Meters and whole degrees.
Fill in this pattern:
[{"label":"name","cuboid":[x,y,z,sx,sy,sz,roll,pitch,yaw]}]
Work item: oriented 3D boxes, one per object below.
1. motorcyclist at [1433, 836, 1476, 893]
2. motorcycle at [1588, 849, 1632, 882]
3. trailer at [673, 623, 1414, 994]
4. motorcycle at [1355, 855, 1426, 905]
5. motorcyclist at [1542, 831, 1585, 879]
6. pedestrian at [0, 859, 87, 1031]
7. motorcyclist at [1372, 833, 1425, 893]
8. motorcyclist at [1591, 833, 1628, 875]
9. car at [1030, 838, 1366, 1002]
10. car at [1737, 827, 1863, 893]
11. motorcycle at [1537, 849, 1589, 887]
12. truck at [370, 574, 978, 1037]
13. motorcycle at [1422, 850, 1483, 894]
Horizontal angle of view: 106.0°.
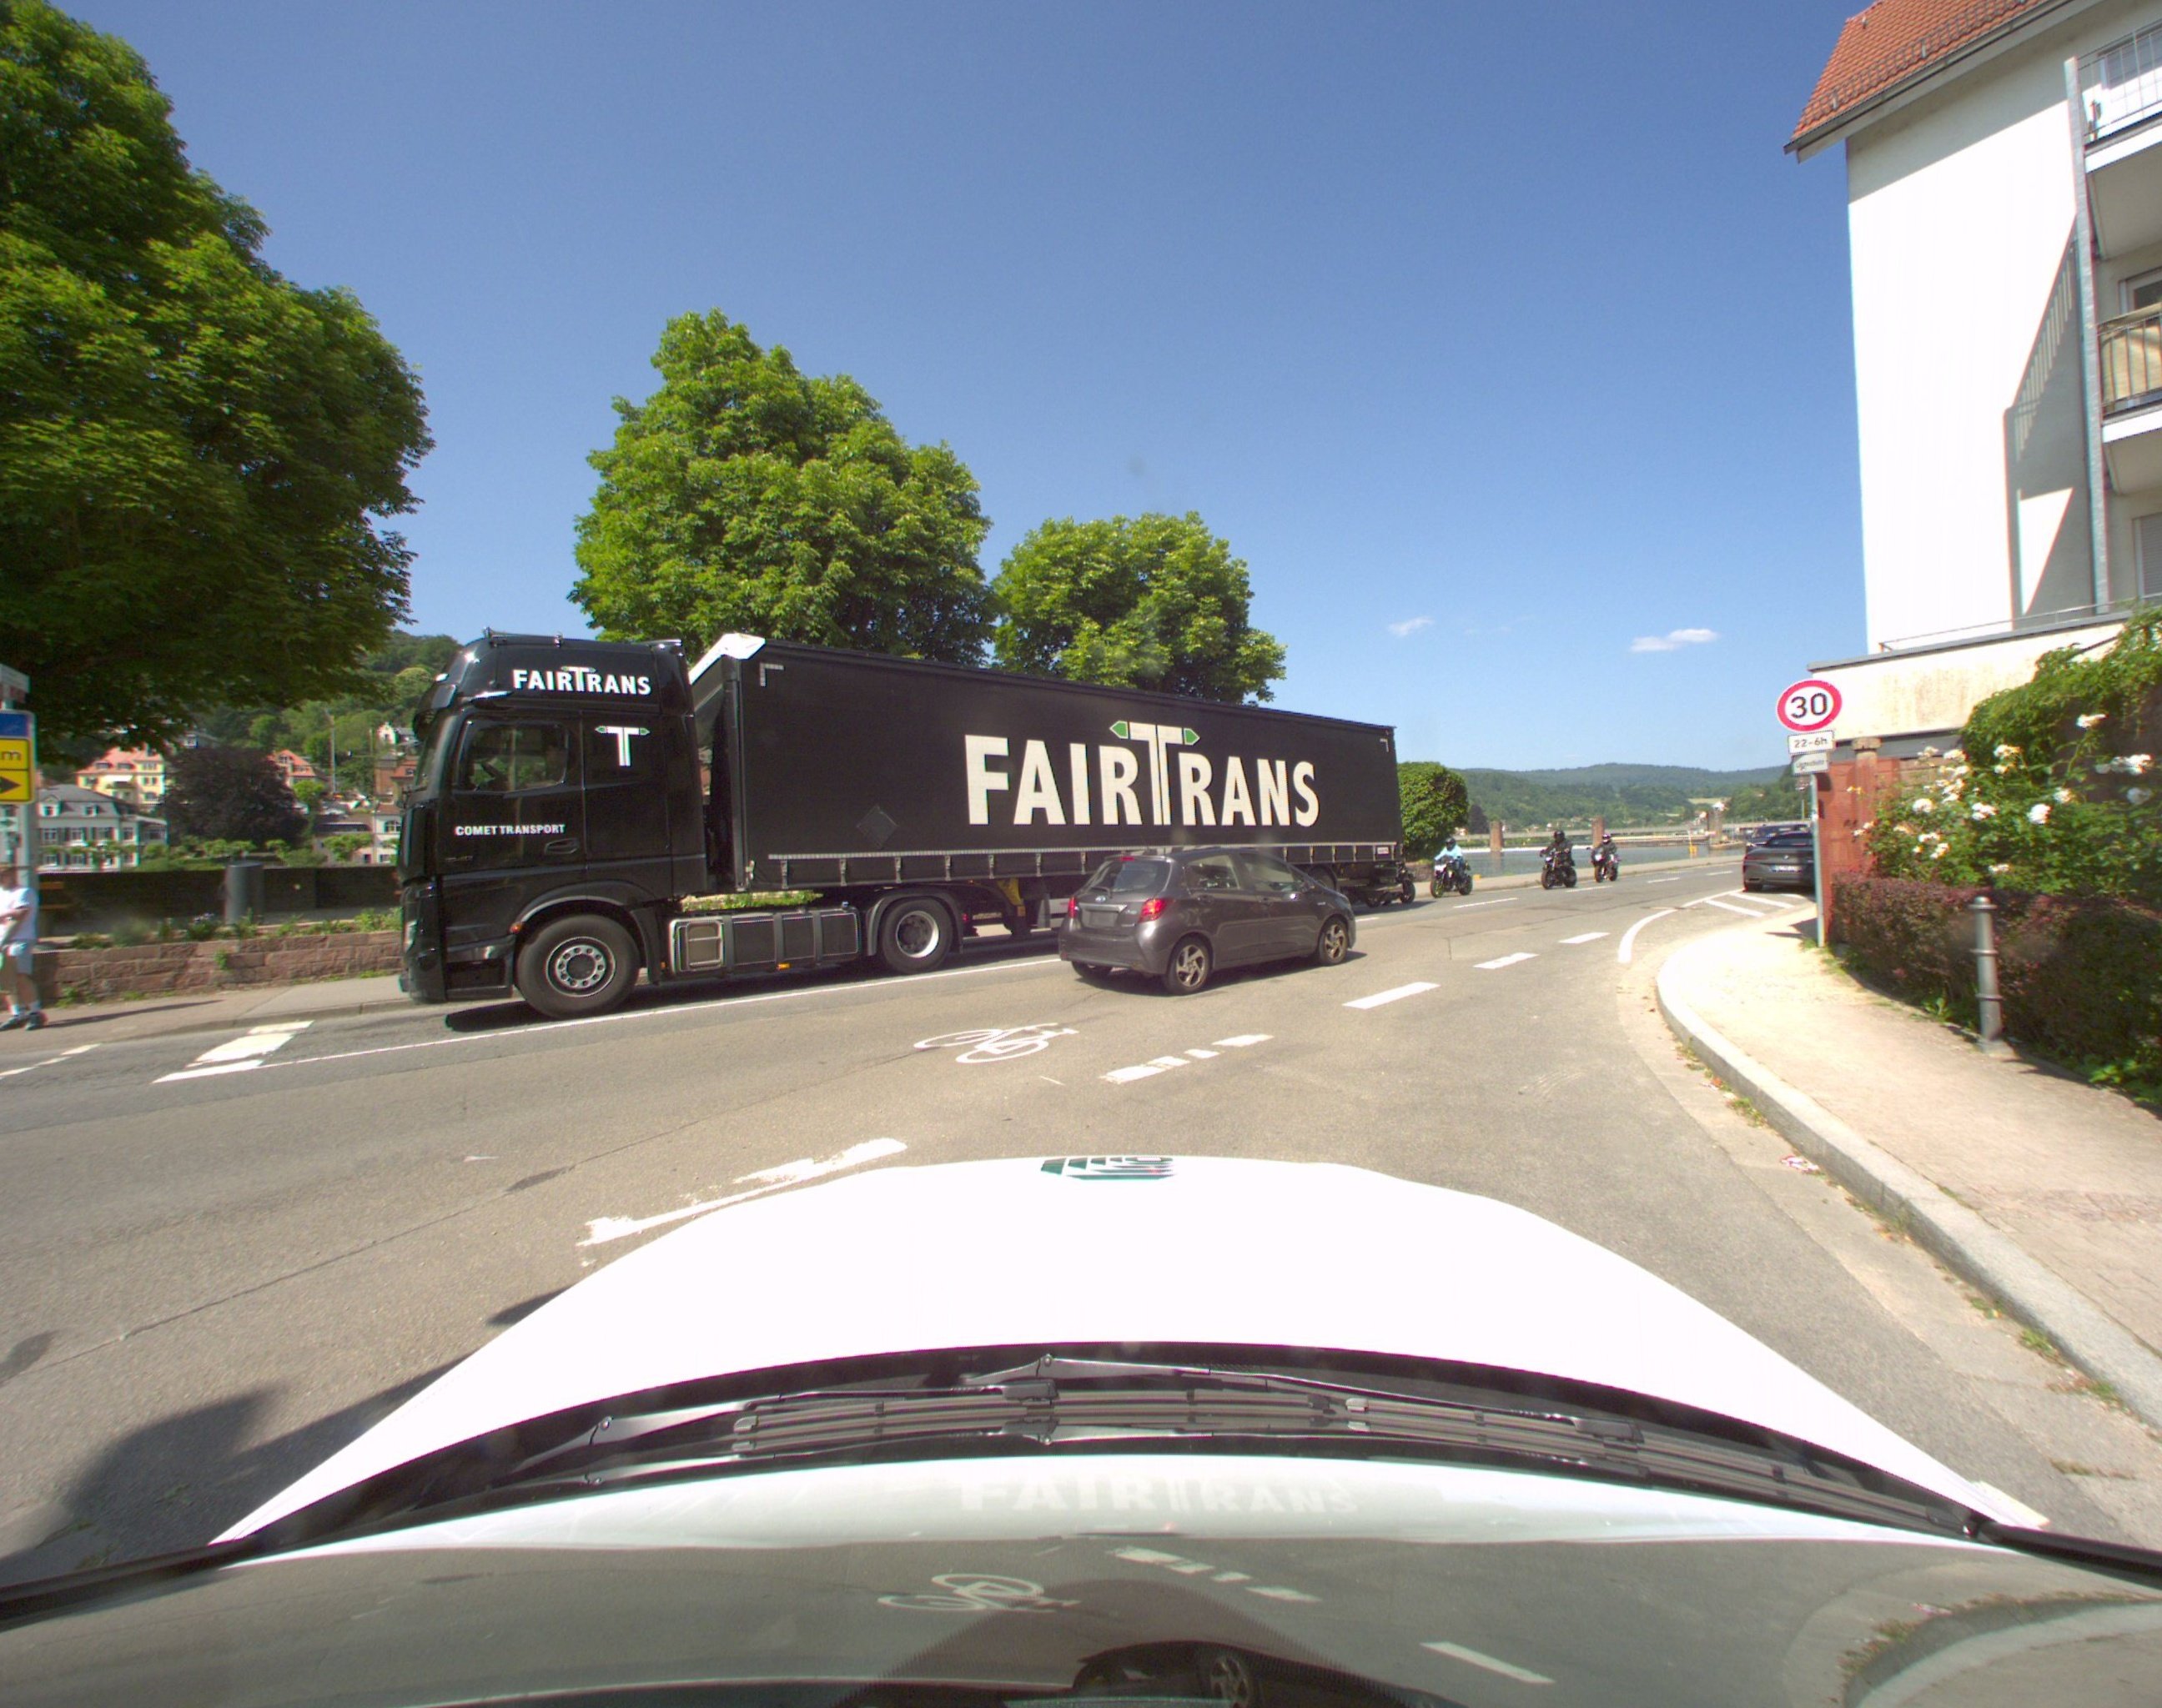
[{"label":"motorcyclist","cuboid":[10.551,0.293,23.013,0.996,1.525,0.657,-2,-2,-40]},{"label":"motorcycle","cuboid":[17.642,0.375,27.148,1.824,1.024,0.651,-2,-1,-39]},{"label":"trailer","cuboid":[0.760,-0.641,14.382,13.839,4.104,2.810,-2,-2,-38]},{"label":"motorcycle","cuboid":[7.743,0.637,20.334,2.103,1.123,0.628,-2,-3,-39]},{"label":"motorcyclist","cuboid":[13.978,0.026,23.600,0.804,1.366,0.780,-2,-1,-39]},{"label":"pedestrian","cuboid":[-11.473,0.971,8.859,0.709,1.802,0.573,-2,-1,-40]},{"label":"motorcyclist","cuboid":[7.990,0.224,20.482,0.996,1.460,0.772,-2,-2,-39]},{"label":"motorcyclist","cuboid":[17.541,0.001,27.032,0.941,1.366,0.711,-2,-1,-39]},{"label":"car","cuboid":[1.494,0.626,9.595,3.901,1.498,1.707,-2,-1,-40]},{"label":"car","cuboid":[17.035,0.093,19.235,3.759,1.399,1.673,-2,0,-40]},{"label":"motorcycle","cuboid":[13.922,0.407,23.505,1.824,1.024,0.651,-2,-1,-39]},{"label":"truck","cuboid":[-4.675,-0.450,10.083,5.961,4.071,2.807,-2,-2,-38]},{"label":"motorcycle","cuboid":[10.495,0.499,22.962,2.103,1.123,0.628,-2,-3,-39]}]
